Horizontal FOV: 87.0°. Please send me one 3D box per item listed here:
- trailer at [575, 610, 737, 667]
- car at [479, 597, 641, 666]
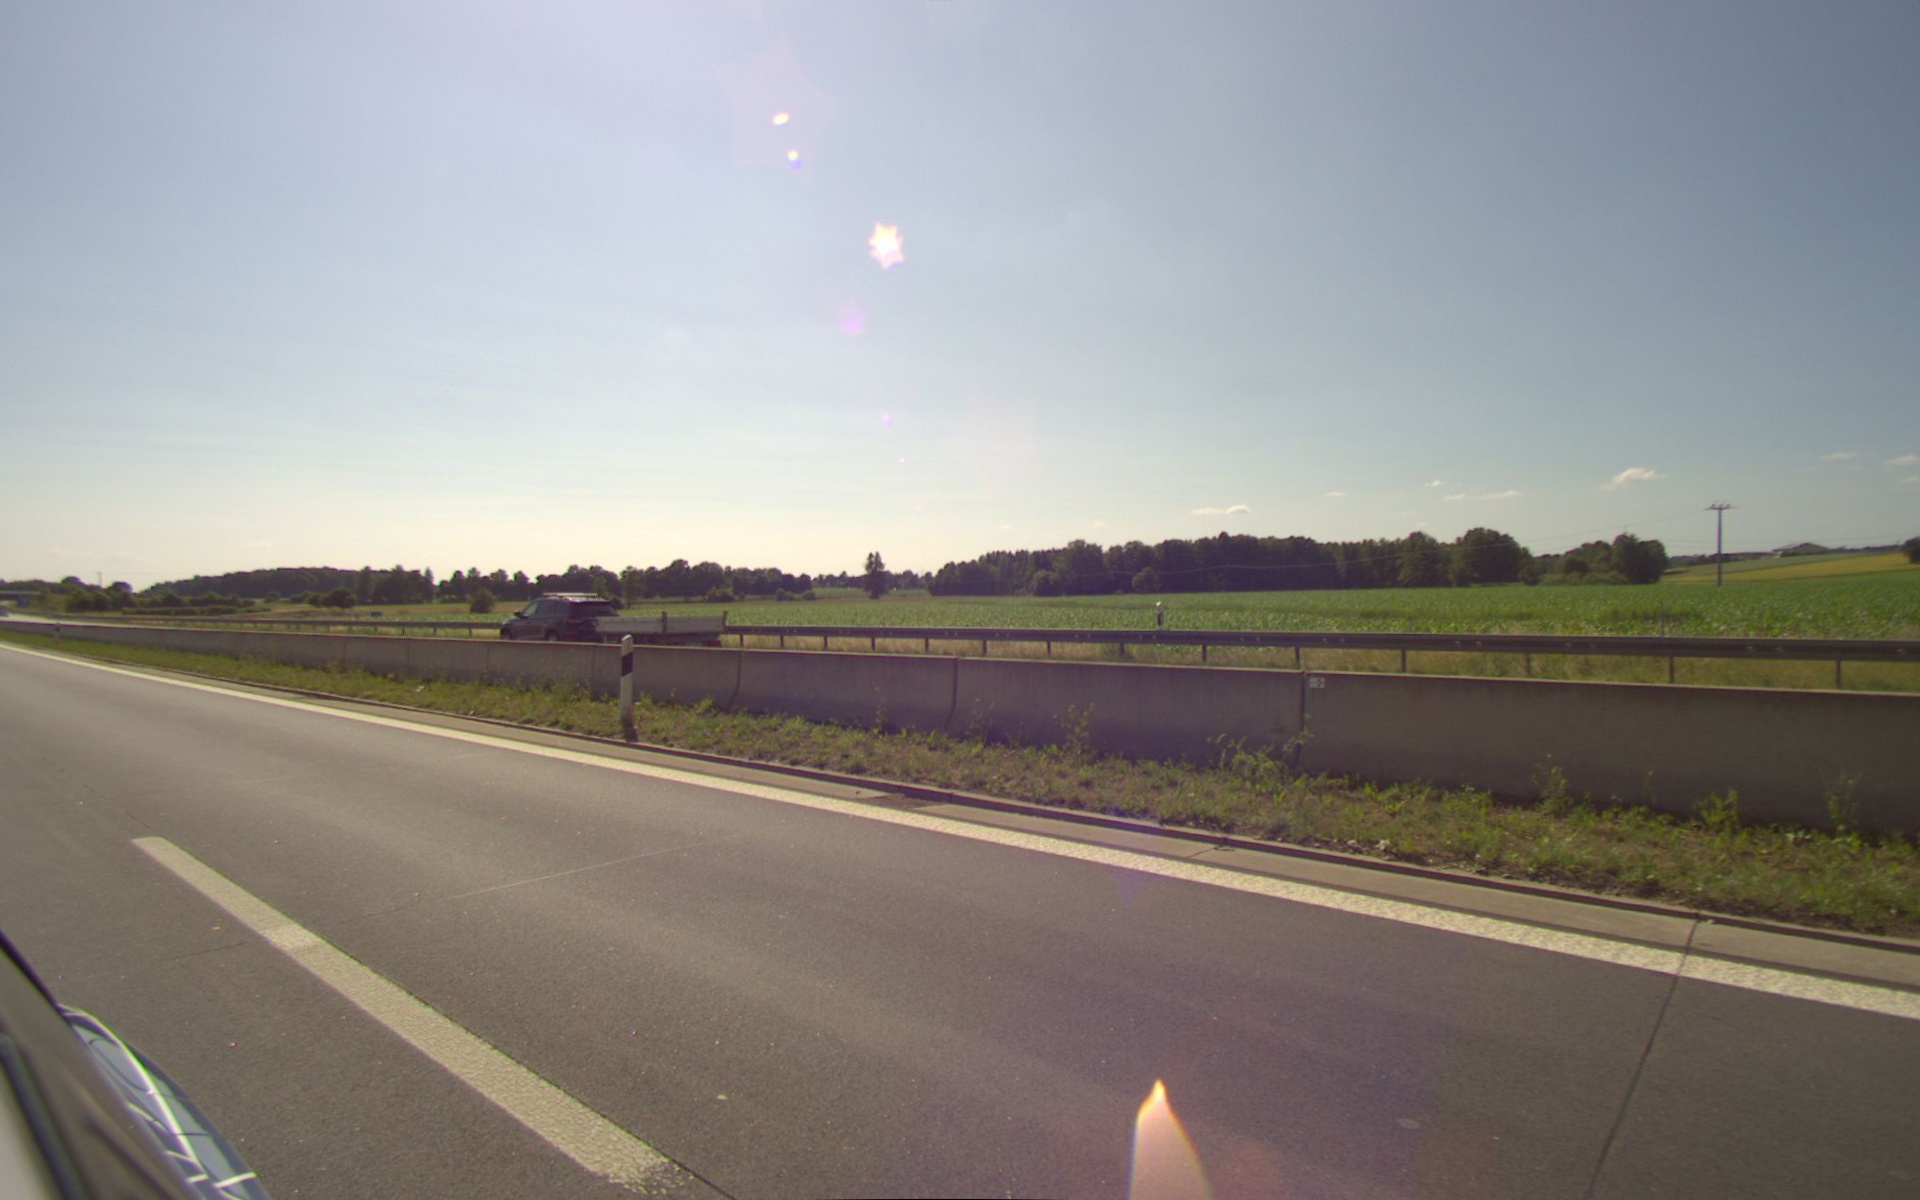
[{"bbox_3d":[-7.734,0.927,25.563,4.260,1.267,1.973,-1,0,41],"label":"trailer"},{"bbox_3d":[-11.487,0.861,28.843,5.585,1.744,1.973,-1,0,42],"label":"car"}]
